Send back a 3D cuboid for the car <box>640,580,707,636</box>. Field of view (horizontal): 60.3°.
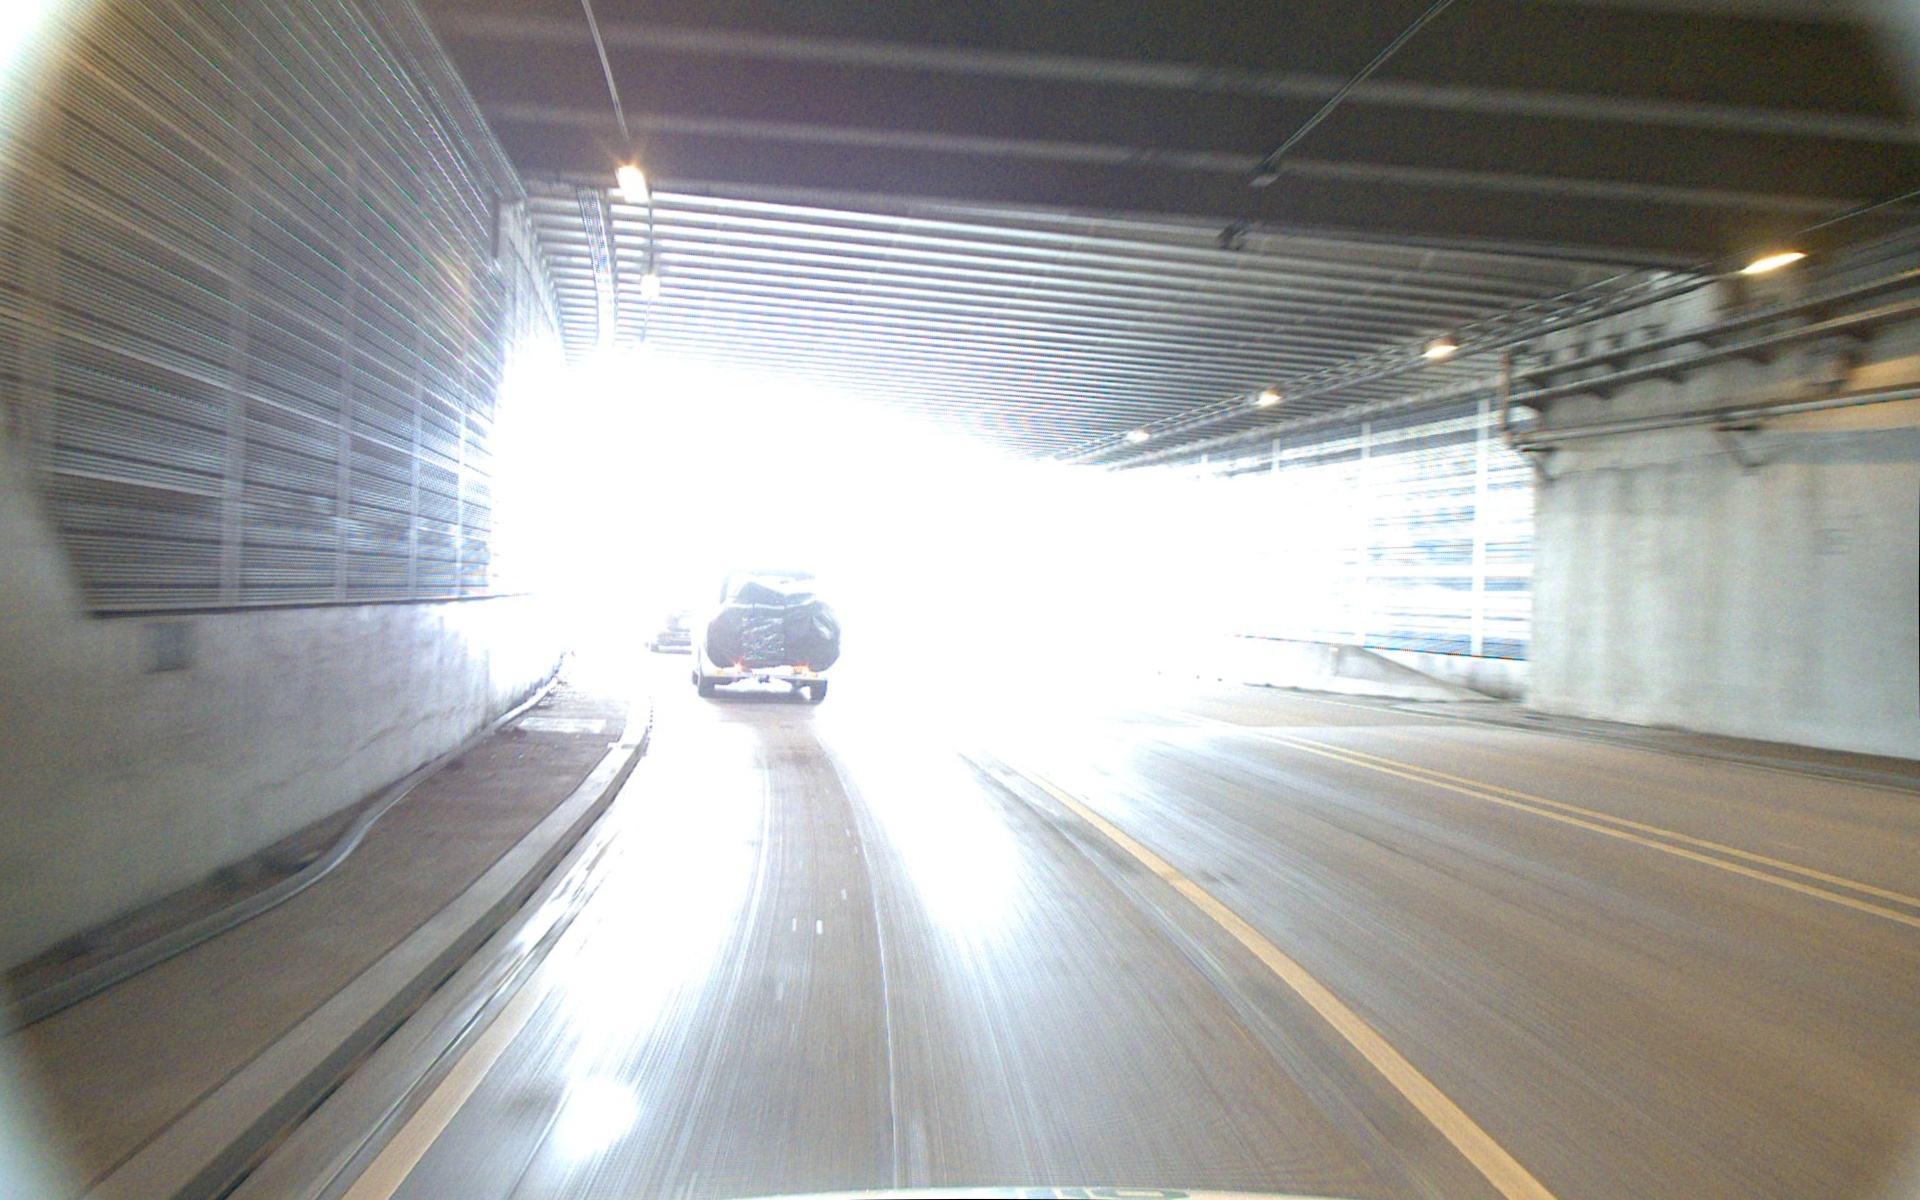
[{"bbox_3d":[-8.830,0.211,50.994,1.886,1.514,4.056,3,1,-10],"label":"car"}]

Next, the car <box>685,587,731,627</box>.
[{"bbox_3d":[-11.209,0.283,73.551,1.957,1.693,3.992,1,0,-9],"label":"car"}]

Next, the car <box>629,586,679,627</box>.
[{"bbox_3d":[-13.052,0.248,70.671,1.957,1.693,3.992,1,0,-9],"label":"car"}]

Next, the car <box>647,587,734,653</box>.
[{"bbox_3d":[-6.520,0.451,39.713,1.784,1.459,4.051,1,0,-13],"label":"car"}]

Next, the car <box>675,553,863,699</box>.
[{"bbox_3d":[-2.946,0.320,24.309,1.960,1.891,5.618,0,0,-15],"label":"car"}]
